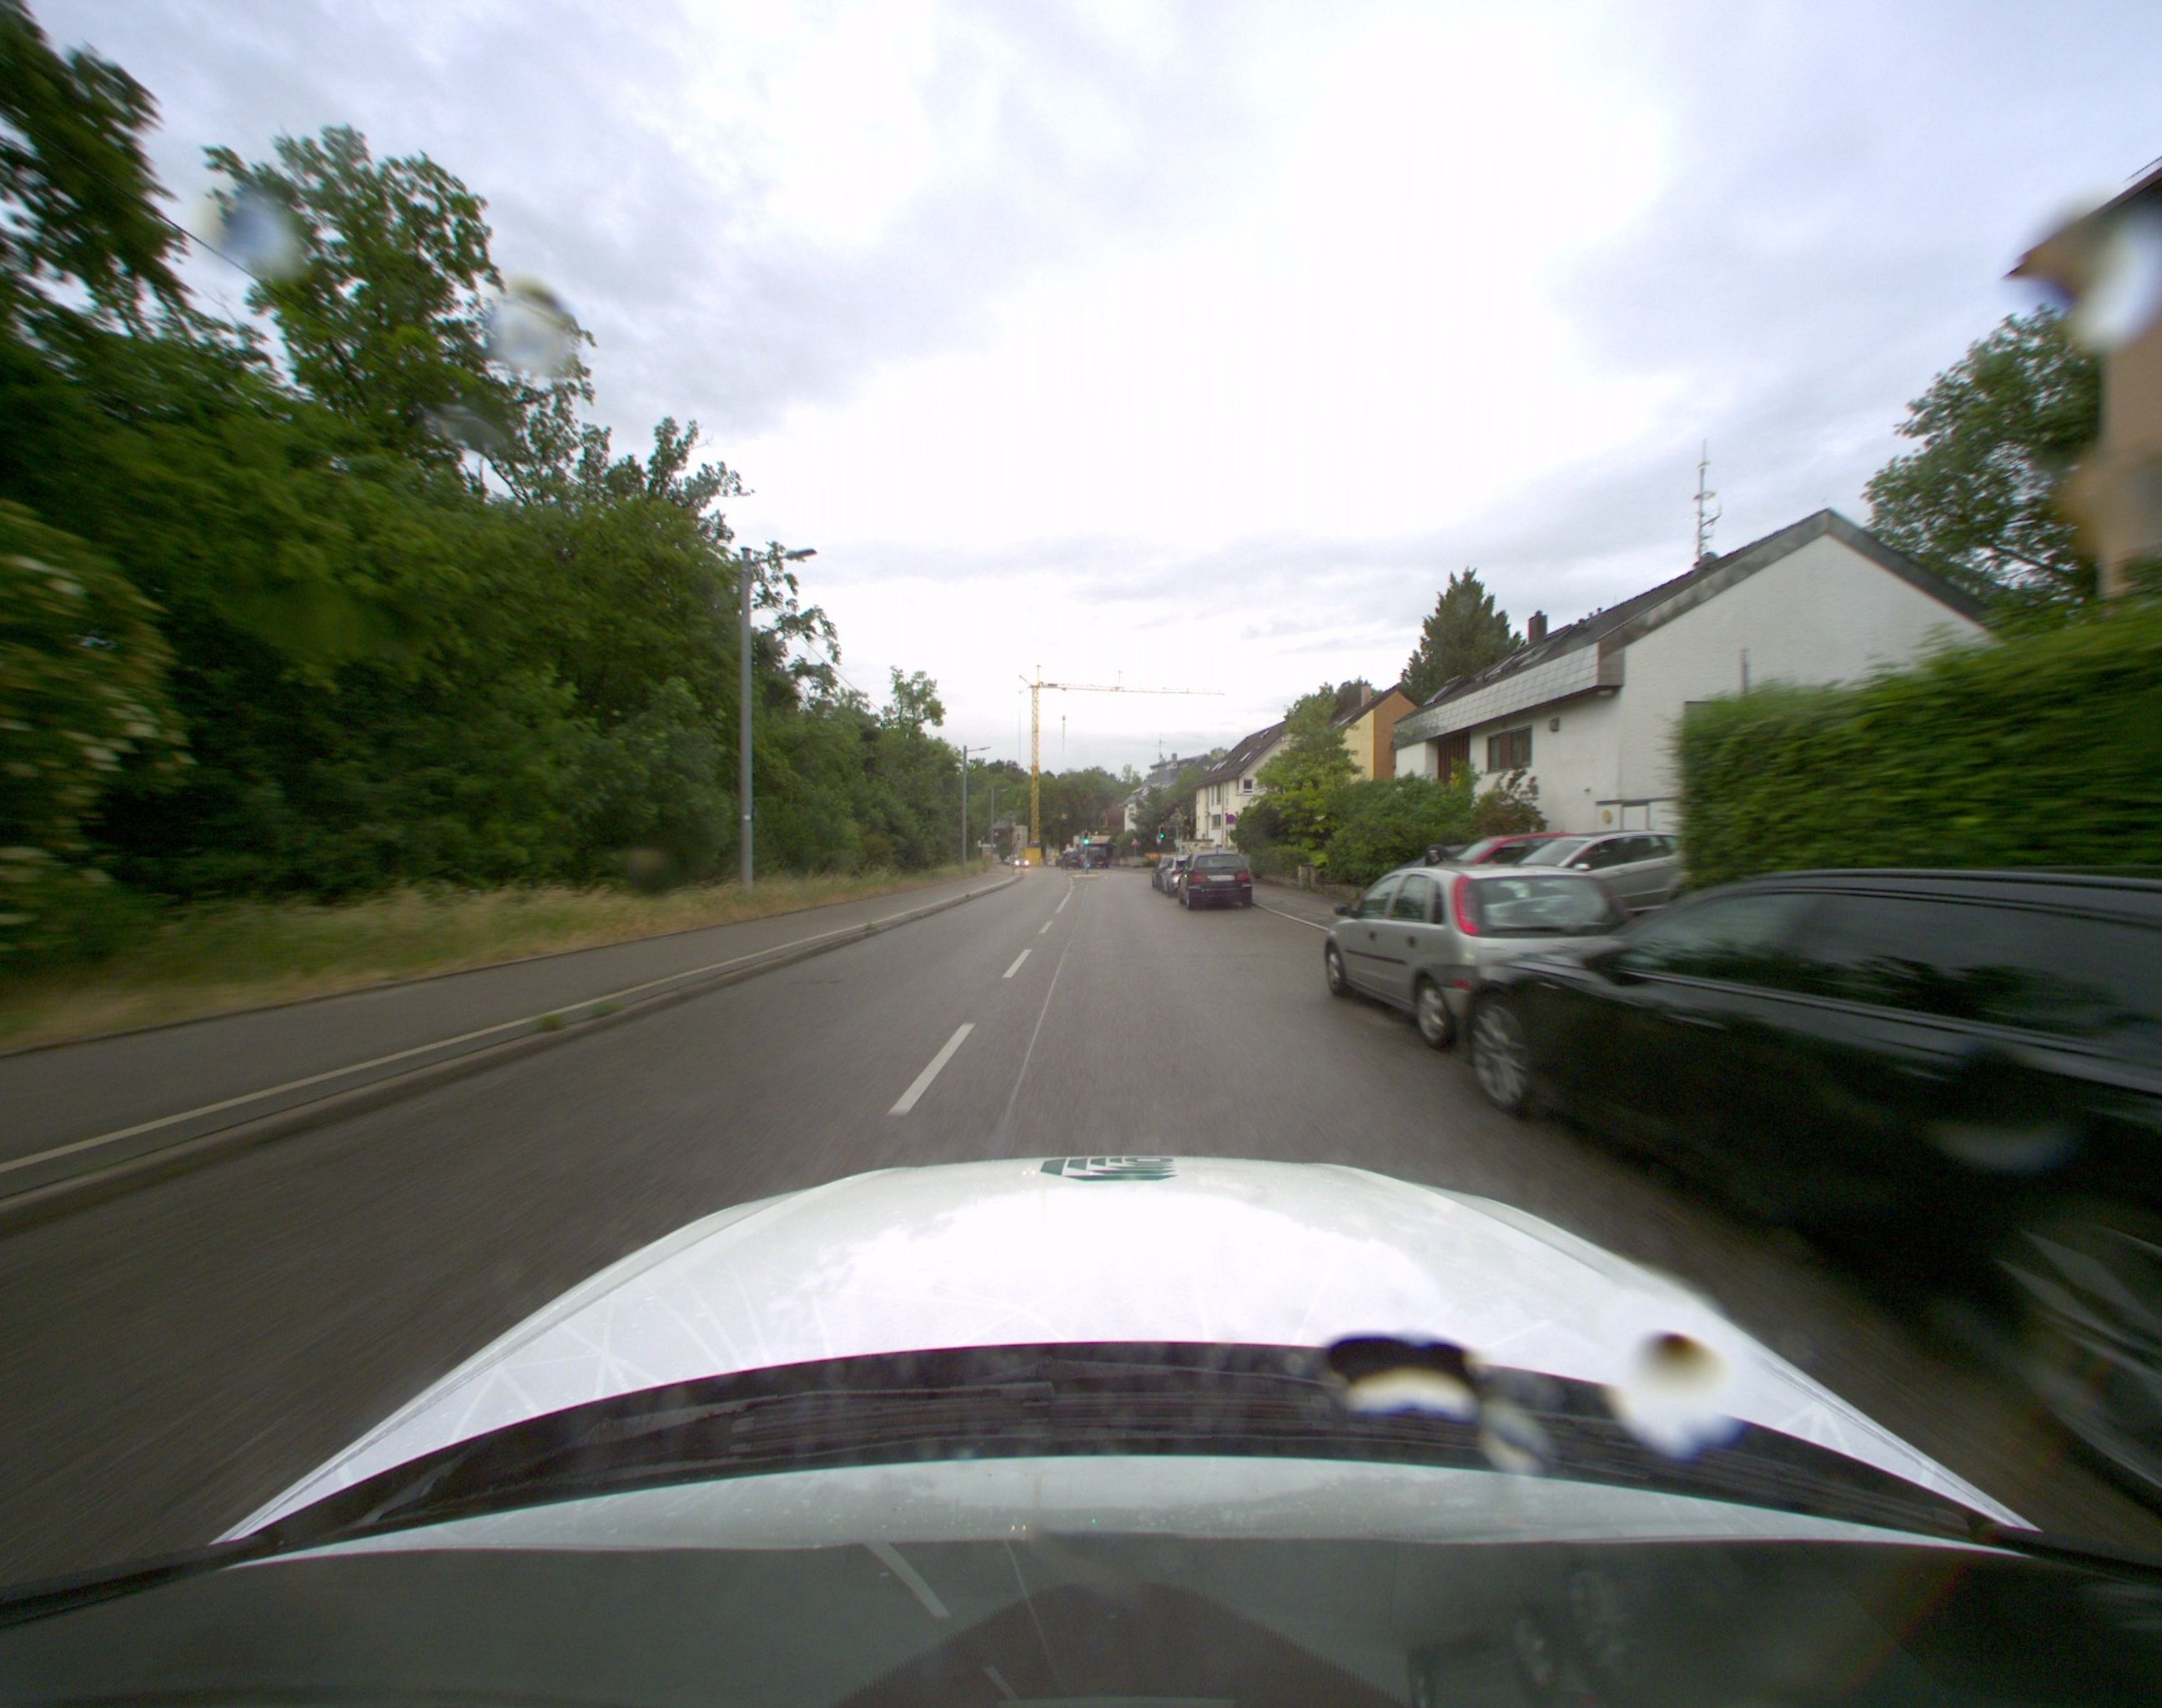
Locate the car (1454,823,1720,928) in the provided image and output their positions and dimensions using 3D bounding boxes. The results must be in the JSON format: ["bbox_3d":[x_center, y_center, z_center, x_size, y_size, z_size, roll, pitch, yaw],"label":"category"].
[{"bbox_3d":[9.068,0.355,14.816,3.648,1.536,1.827,-4,0,-2],"label":"car"}]

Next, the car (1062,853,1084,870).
[{"bbox_3d":[-0.889,0.768,84.957,1.929,1.751,3.991,0,0,-6],"label":"car"}]

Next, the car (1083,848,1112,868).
[{"bbox_3d":[1.651,0.434,85.157,1.994,2.013,4.939,-3,0,-10],"label":"car"}]

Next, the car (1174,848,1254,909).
[{"bbox_3d":[3.796,0.634,23.915,1.724,1.568,4.523,-2,0,2],"label":"car"}]

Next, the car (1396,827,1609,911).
[{"bbox_3d":[9.102,0.321,17.815,3.645,1.566,1.883,-3,0,1],"label":"car"}]

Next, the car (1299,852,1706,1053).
[{"bbox_3d":[3.557,0.732,7.870,1.807,1.398,4.102,-1,-1,0],"label":"car"}]

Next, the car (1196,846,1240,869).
[{"bbox_3d":[9.991,0.275,59.765,1.930,1.596,4.330,2,-1,-8],"label":"car"}]

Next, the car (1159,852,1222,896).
[{"bbox_3d":[3.953,0.731,30.100,1.786,1.487,4.496,-1,-1,1],"label":"car"}]

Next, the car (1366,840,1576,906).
[{"bbox_3d":[9.398,0.457,19.879,4.230,1.461,1.882,-1,-1,1],"label":"car"}]

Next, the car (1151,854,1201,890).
[{"bbox_3d":[4.009,0.744,35.063,1.745,1.443,4.602,-1,-1,2],"label":"car"}]

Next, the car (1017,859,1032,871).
[{"bbox_3d":[-6.957,1.373,100.767,1.739,1.460,4.410,-1,0,-2],"label":"car"}]

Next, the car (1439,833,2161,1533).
[{"bbox_3d":[3.306,0.735,3.171,1.824,1.547,4.630,-1,-1,1],"label":"car"}]
